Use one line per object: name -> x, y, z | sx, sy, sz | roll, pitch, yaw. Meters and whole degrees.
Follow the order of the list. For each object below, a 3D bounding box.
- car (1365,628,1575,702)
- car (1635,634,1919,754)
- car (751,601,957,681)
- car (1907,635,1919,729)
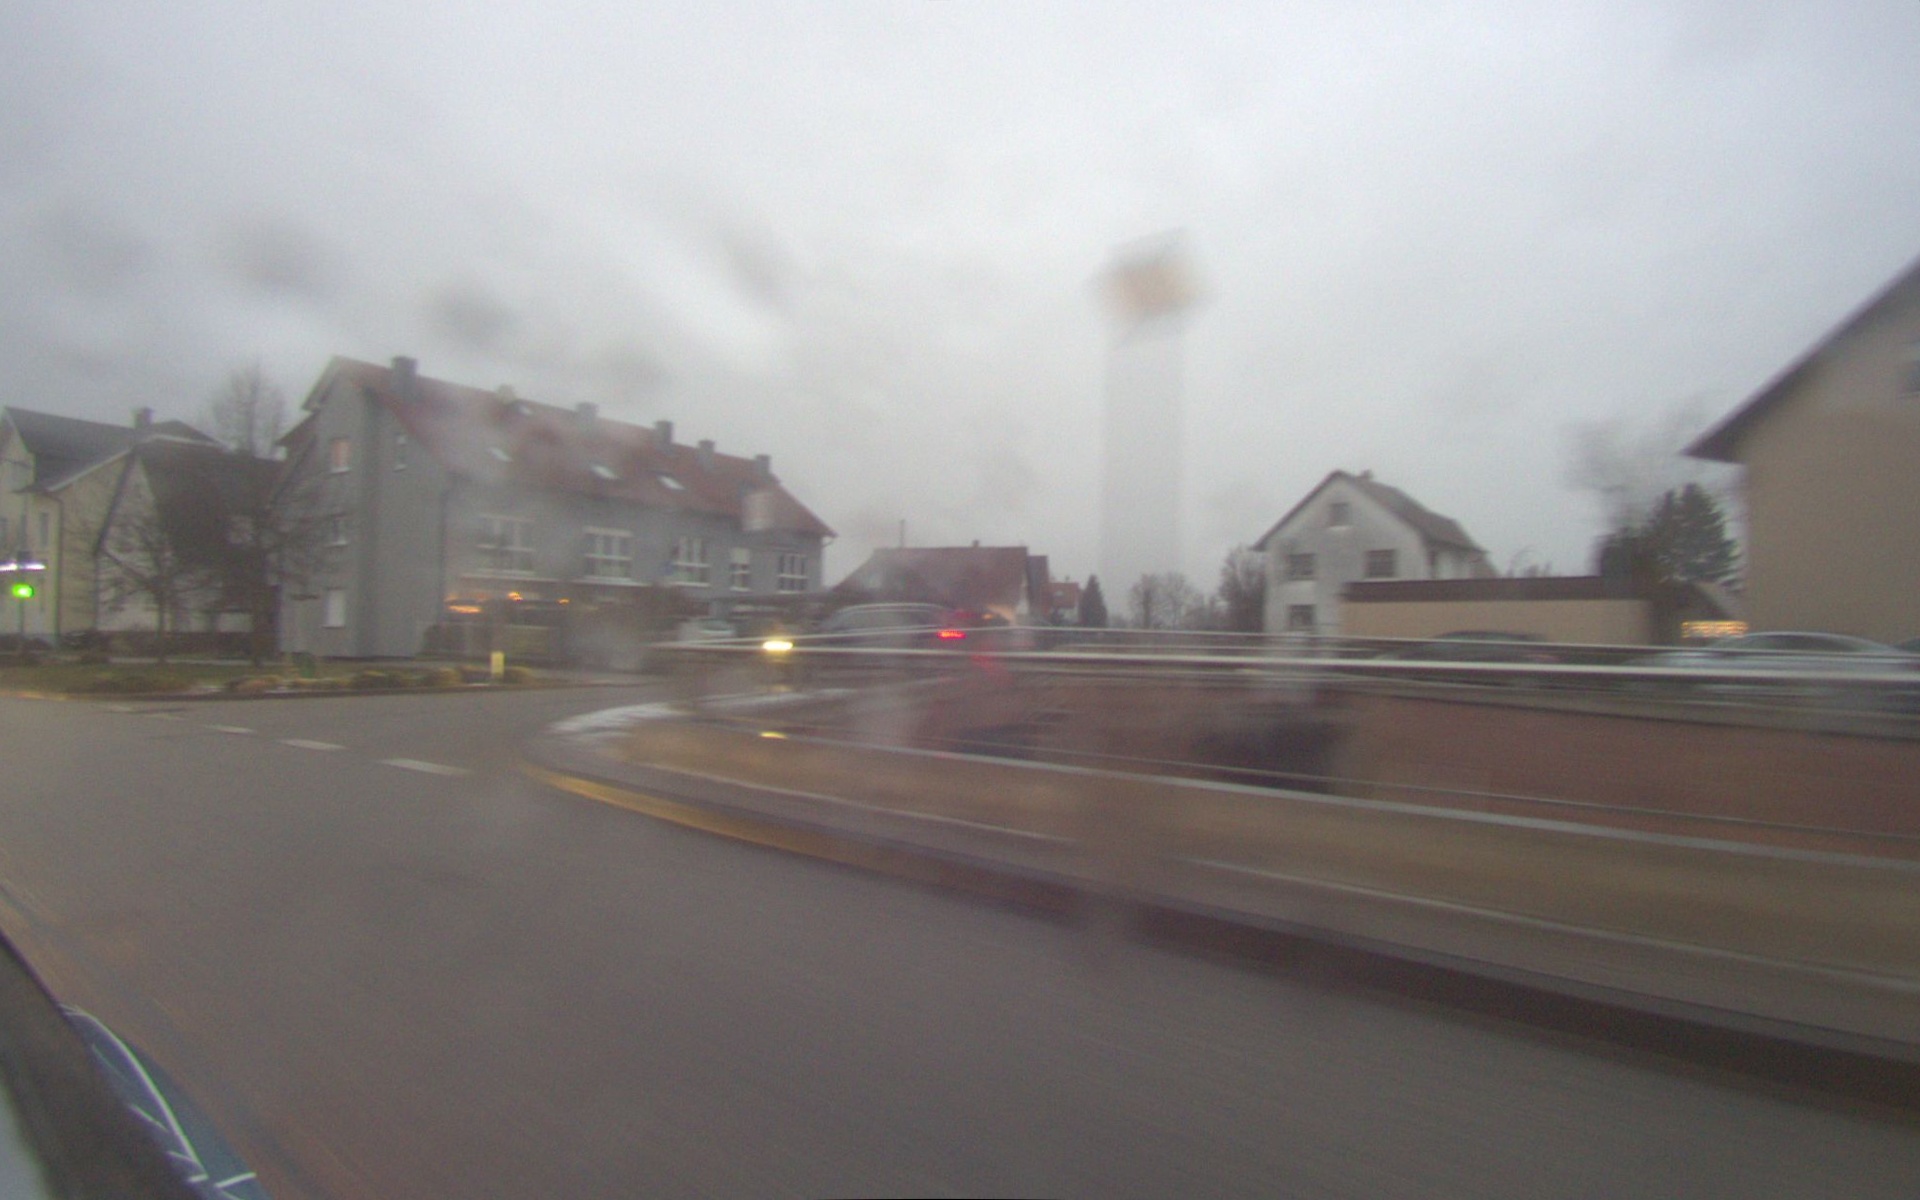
car -> 11.184, 1.365, 22.338 | 3.834, 1.425, 1.658 | -1, 0, 43
car -> 15.212, 1.627, 18.663 | 4.356, 1.919, 1.973 | -2, -1, 42
car -> -2.428, 0.881, 22.993 | 4.271, 1.633, 2.006 | -1, -1, -21
car -> 19.335, 1.465, 17.703 | 4.001, 1.660, 1.815 | -2, -1, 44
